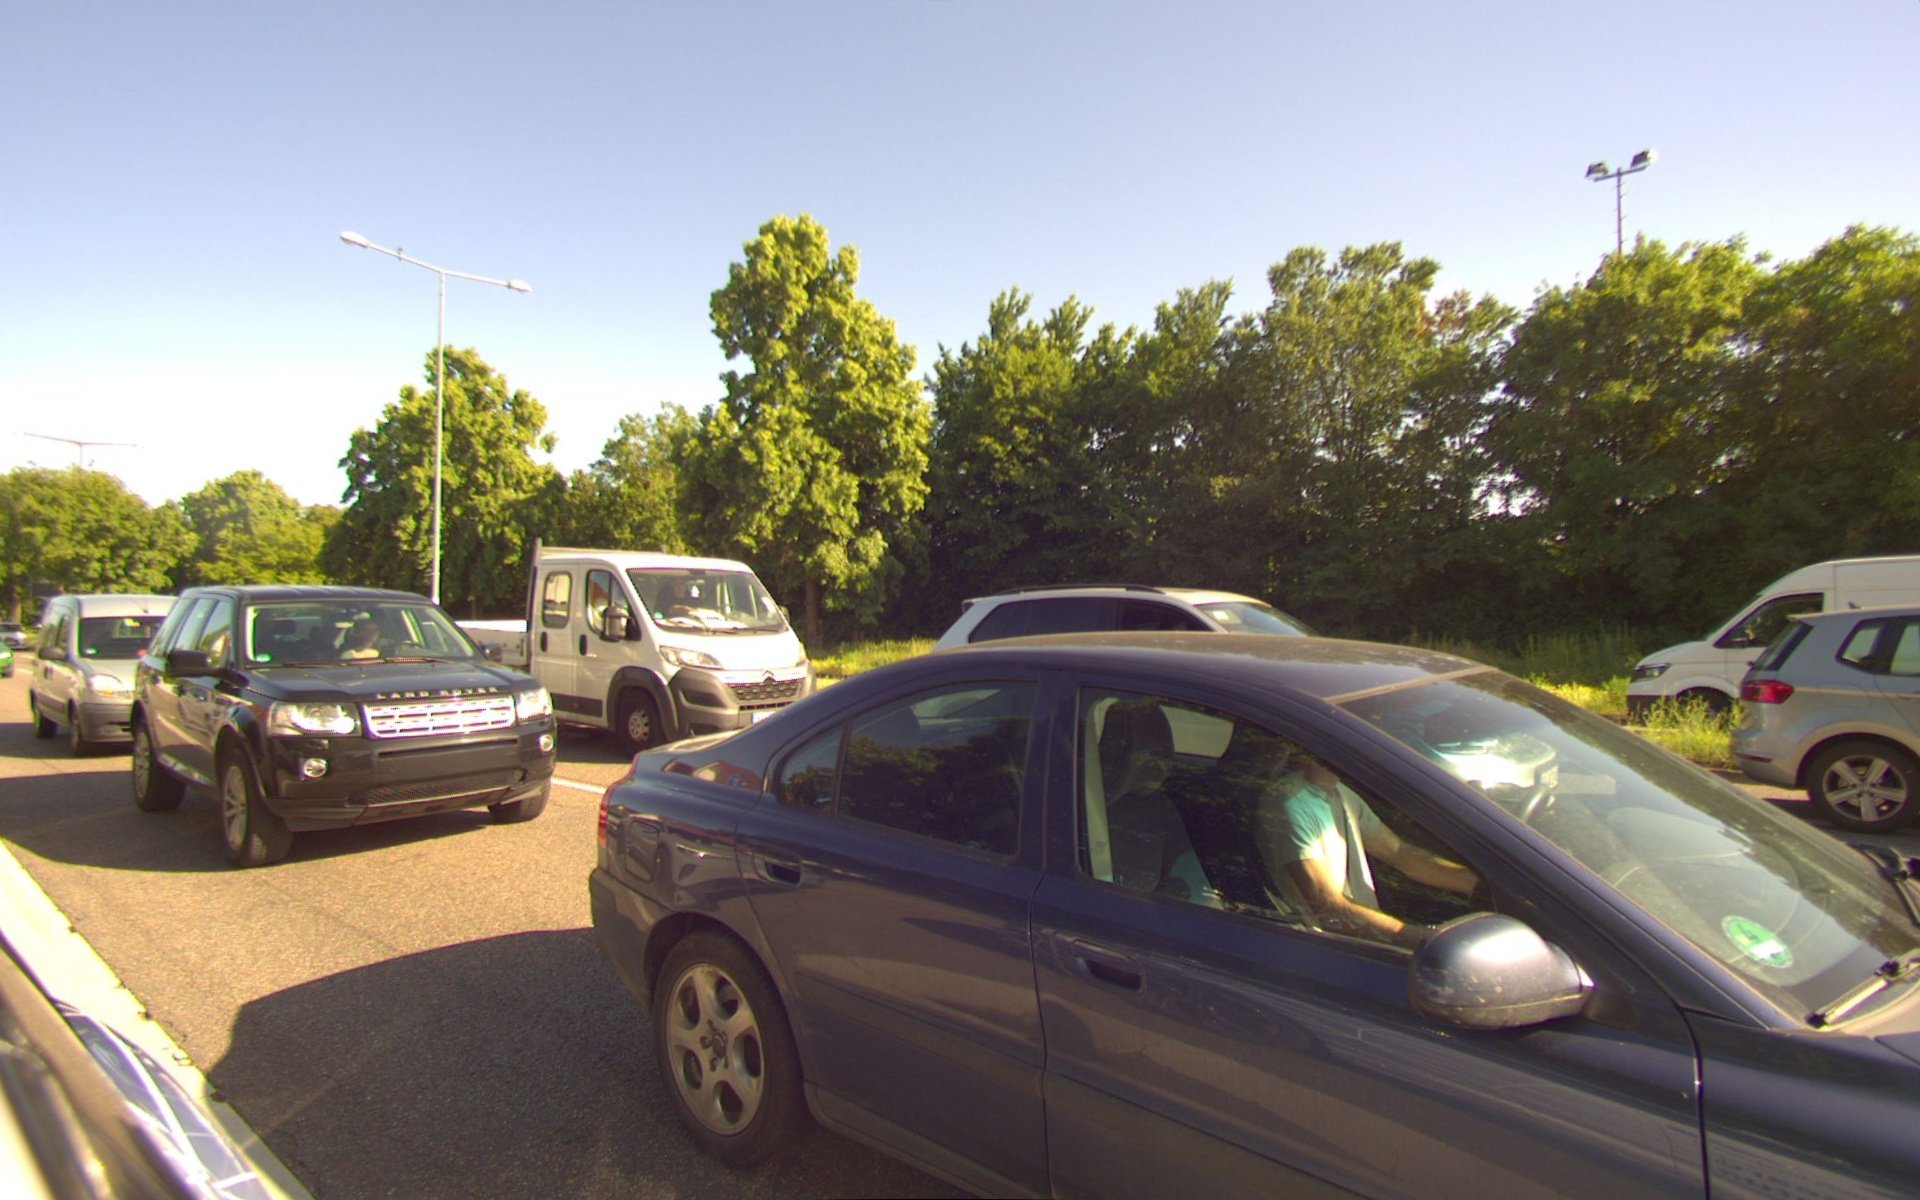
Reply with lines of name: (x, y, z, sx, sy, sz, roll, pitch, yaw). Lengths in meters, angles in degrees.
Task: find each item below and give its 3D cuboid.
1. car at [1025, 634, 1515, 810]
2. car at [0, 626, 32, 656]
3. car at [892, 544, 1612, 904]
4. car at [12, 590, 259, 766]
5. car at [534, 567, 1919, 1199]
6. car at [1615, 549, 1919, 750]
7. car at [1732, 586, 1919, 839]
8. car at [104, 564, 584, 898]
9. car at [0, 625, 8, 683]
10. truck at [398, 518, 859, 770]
car: (3.029, 1.086, 10.548, 4.550, 1.440, 1.811, -2, -3, 41)
car: (-48.493, 2.061, 51.120, 3.994, 1.456, 1.706, -1, -3, 38)
car: (1.781, 0.669, 7.077, 4.422, 1.723, 1.973, -2, -3, 41)
car: (-10.055, 0.803, 12.223, 4.384, 1.765, 1.611, -1, -1, 41)
car: (0.890, 0.697, 2.427, 4.454, 1.463, 1.757, -1, 0, 41)
car: (12.524, 0.648, 13.612, 6.000, 2.511, 2.078, -2, -3, 41)
car: (7.628, 0.725, 6.416, 4.206, 1.623, 1.811, -2, -3, 42)
car: (-4.698, 0.708, 7.422, 4.384, 1.744, 1.793, -1, -1, 41)
car: (-26.700, 1.426, 26.912, 3.929, 1.486, 1.610, -2, -2, 41)
truck: (-4.399, 0.444, 12.444, 6.838, 2.337, 2.158, -1, -1, 40)
